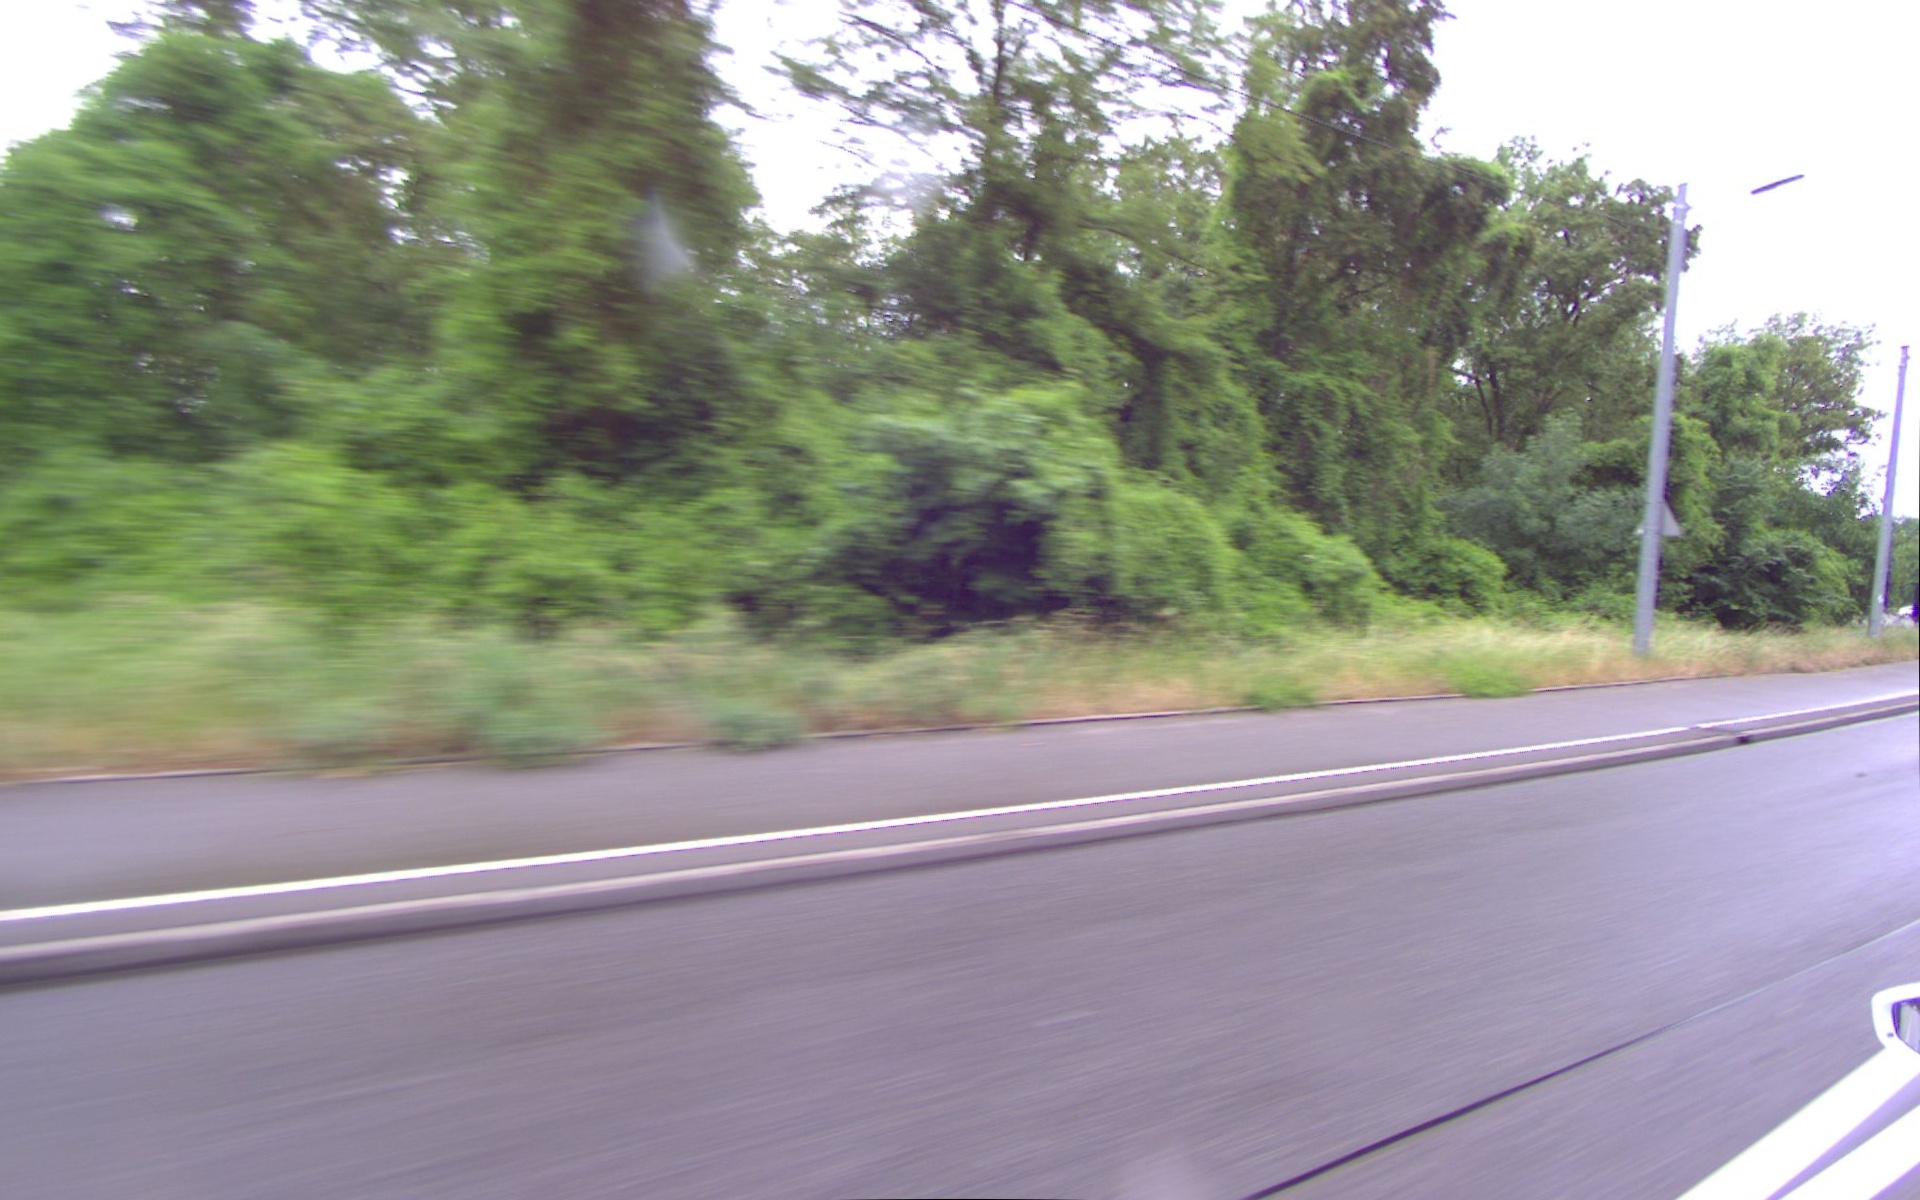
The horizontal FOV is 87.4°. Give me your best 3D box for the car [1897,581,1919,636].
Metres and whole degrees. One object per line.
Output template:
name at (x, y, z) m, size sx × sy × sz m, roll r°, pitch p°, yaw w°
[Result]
car at (64.025, 0.601, 64.196) m, size 5.881 × 3.549 × 1.989 m, roll 2°, pitch 1°, yaw 42°
